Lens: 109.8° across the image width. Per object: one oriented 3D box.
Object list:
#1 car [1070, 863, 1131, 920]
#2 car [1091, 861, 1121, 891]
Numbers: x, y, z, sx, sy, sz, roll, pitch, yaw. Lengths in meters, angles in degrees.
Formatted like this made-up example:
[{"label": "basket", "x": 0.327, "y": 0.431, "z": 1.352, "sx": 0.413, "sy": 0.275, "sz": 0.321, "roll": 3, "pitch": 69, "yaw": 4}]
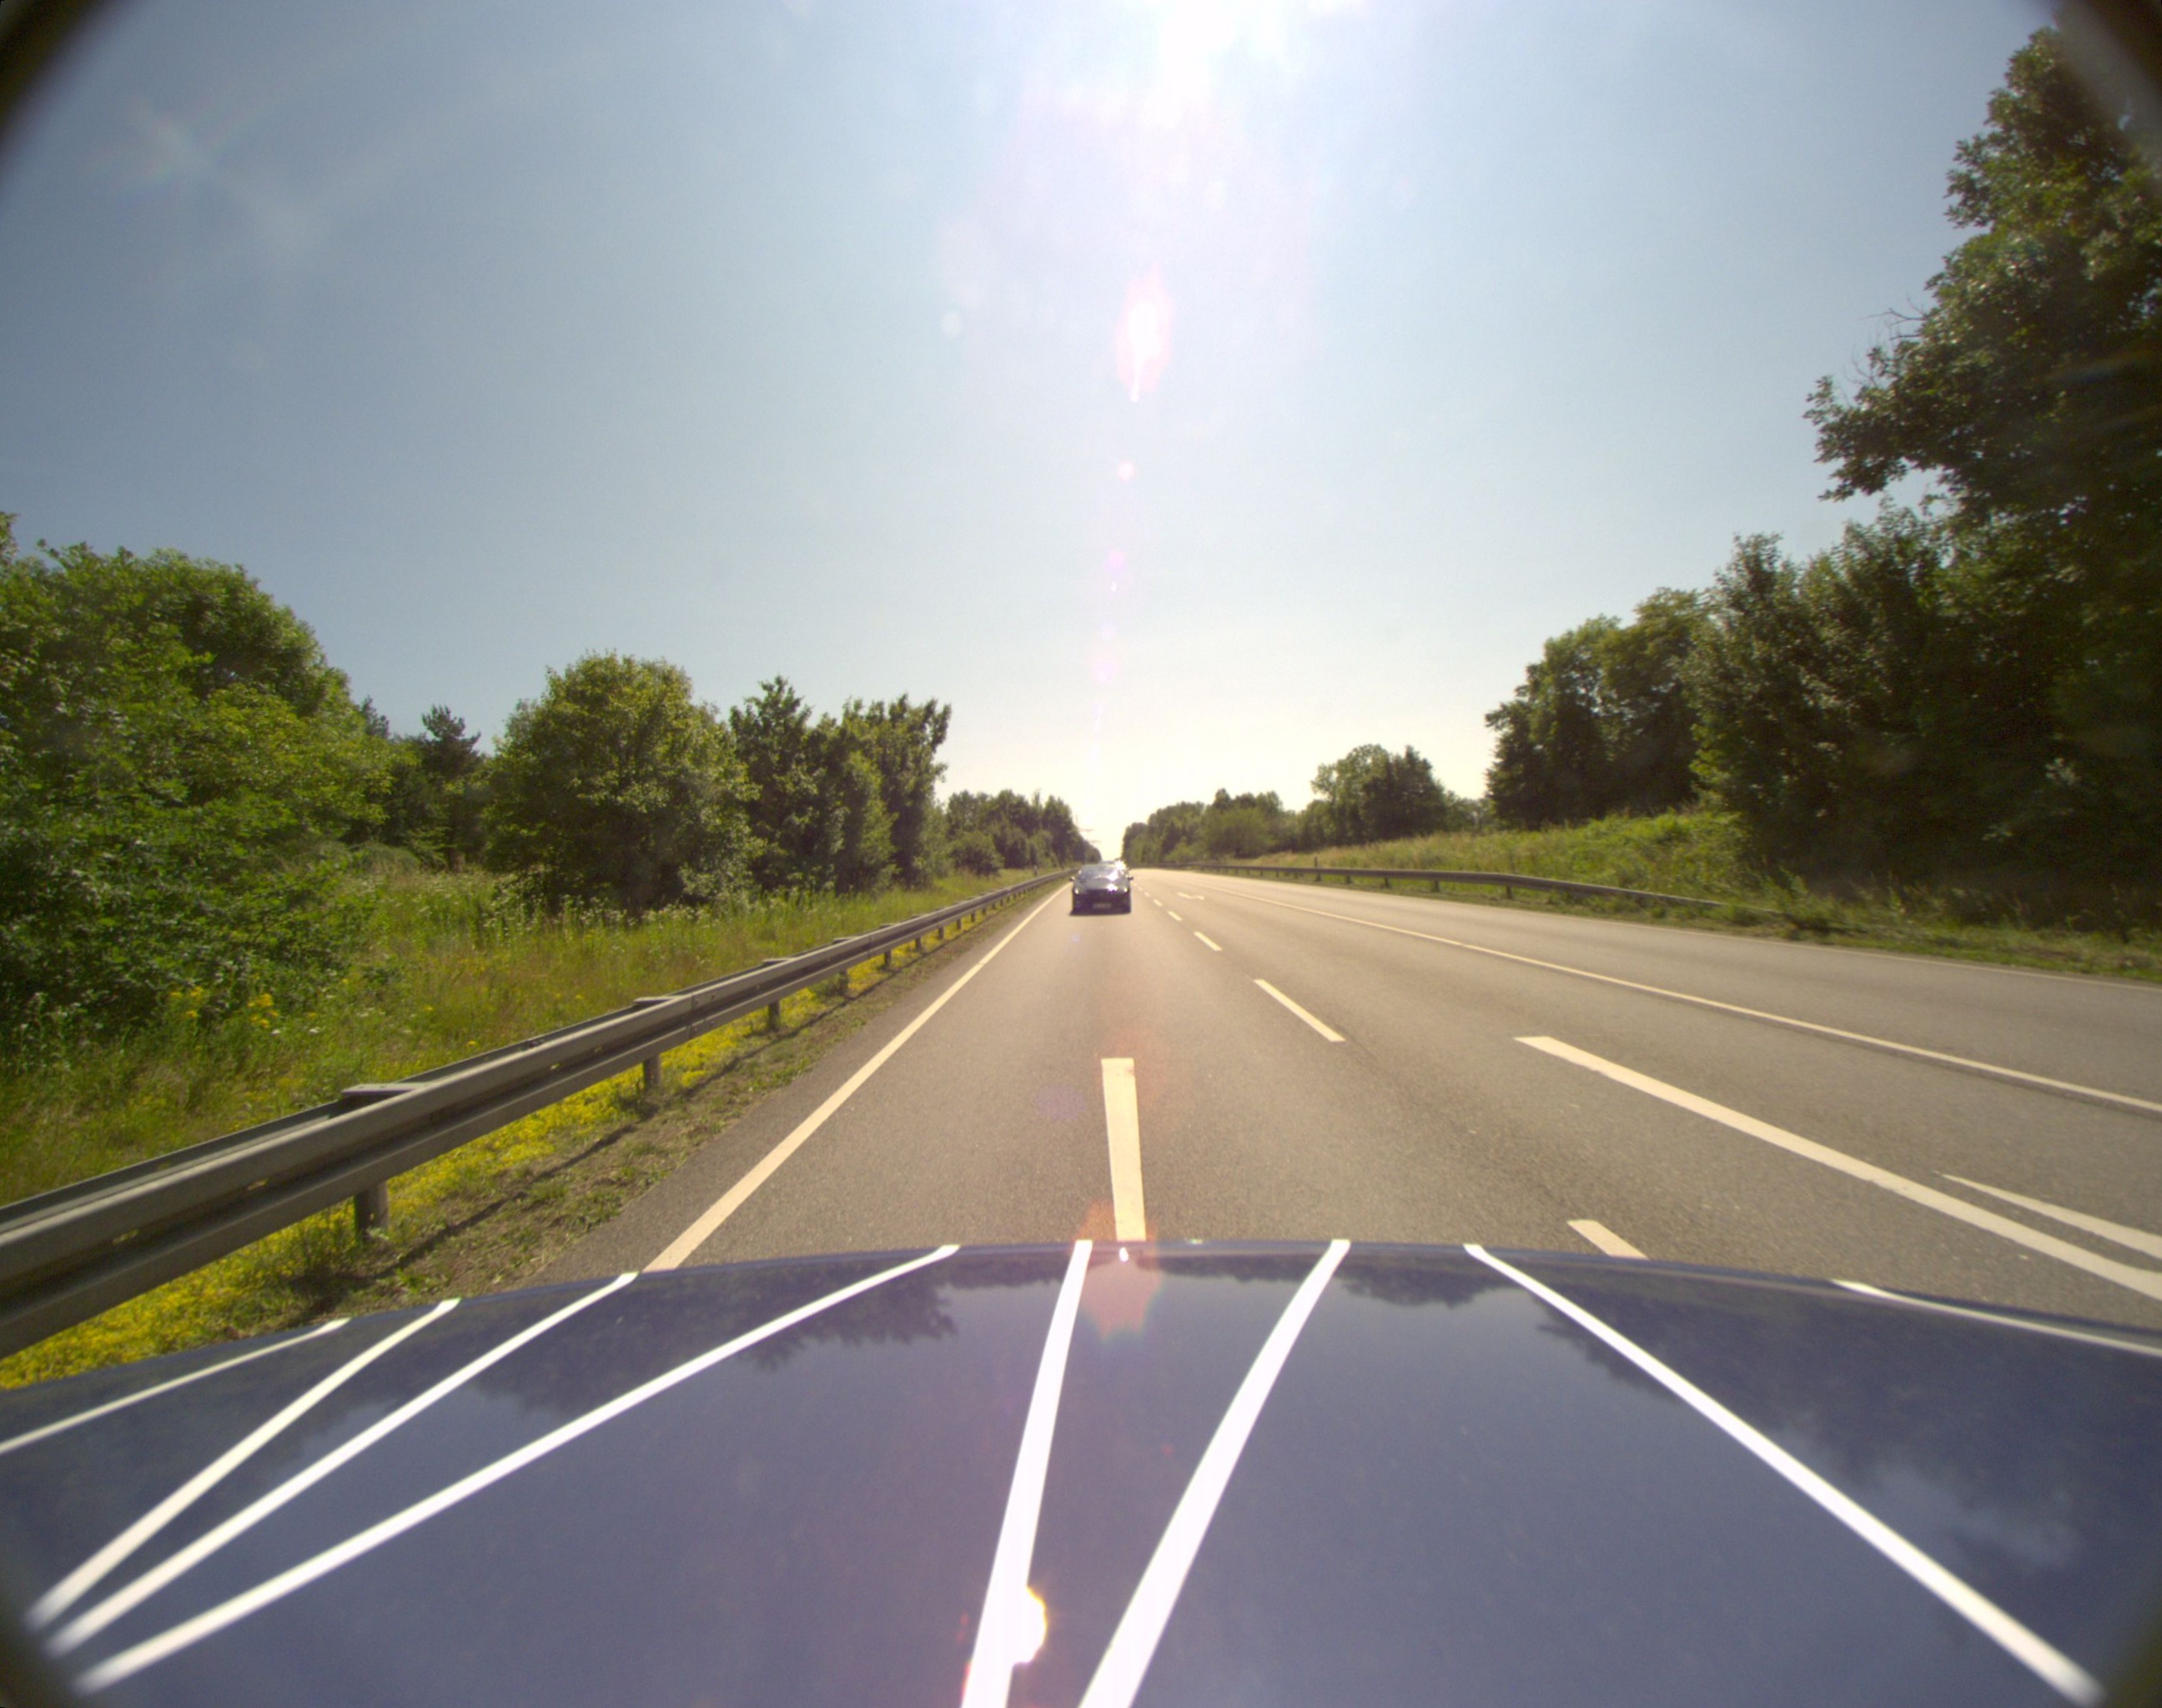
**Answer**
[{"label": "car", "x": 0.583, "y": 1.009, "z": 21.588, "sx": 1.529, "sy": 1.387, "sz": 3.444, "roll": -2, "pitch": 0, "yaw": 2}, {"label": "car", "x": 1.284, "y": 1.108, "z": 39.624, "sx": 1.443, "sy": 1.443, "sz": 3.298, "roll": -2, "pitch": 0, "yaw": 0}]
